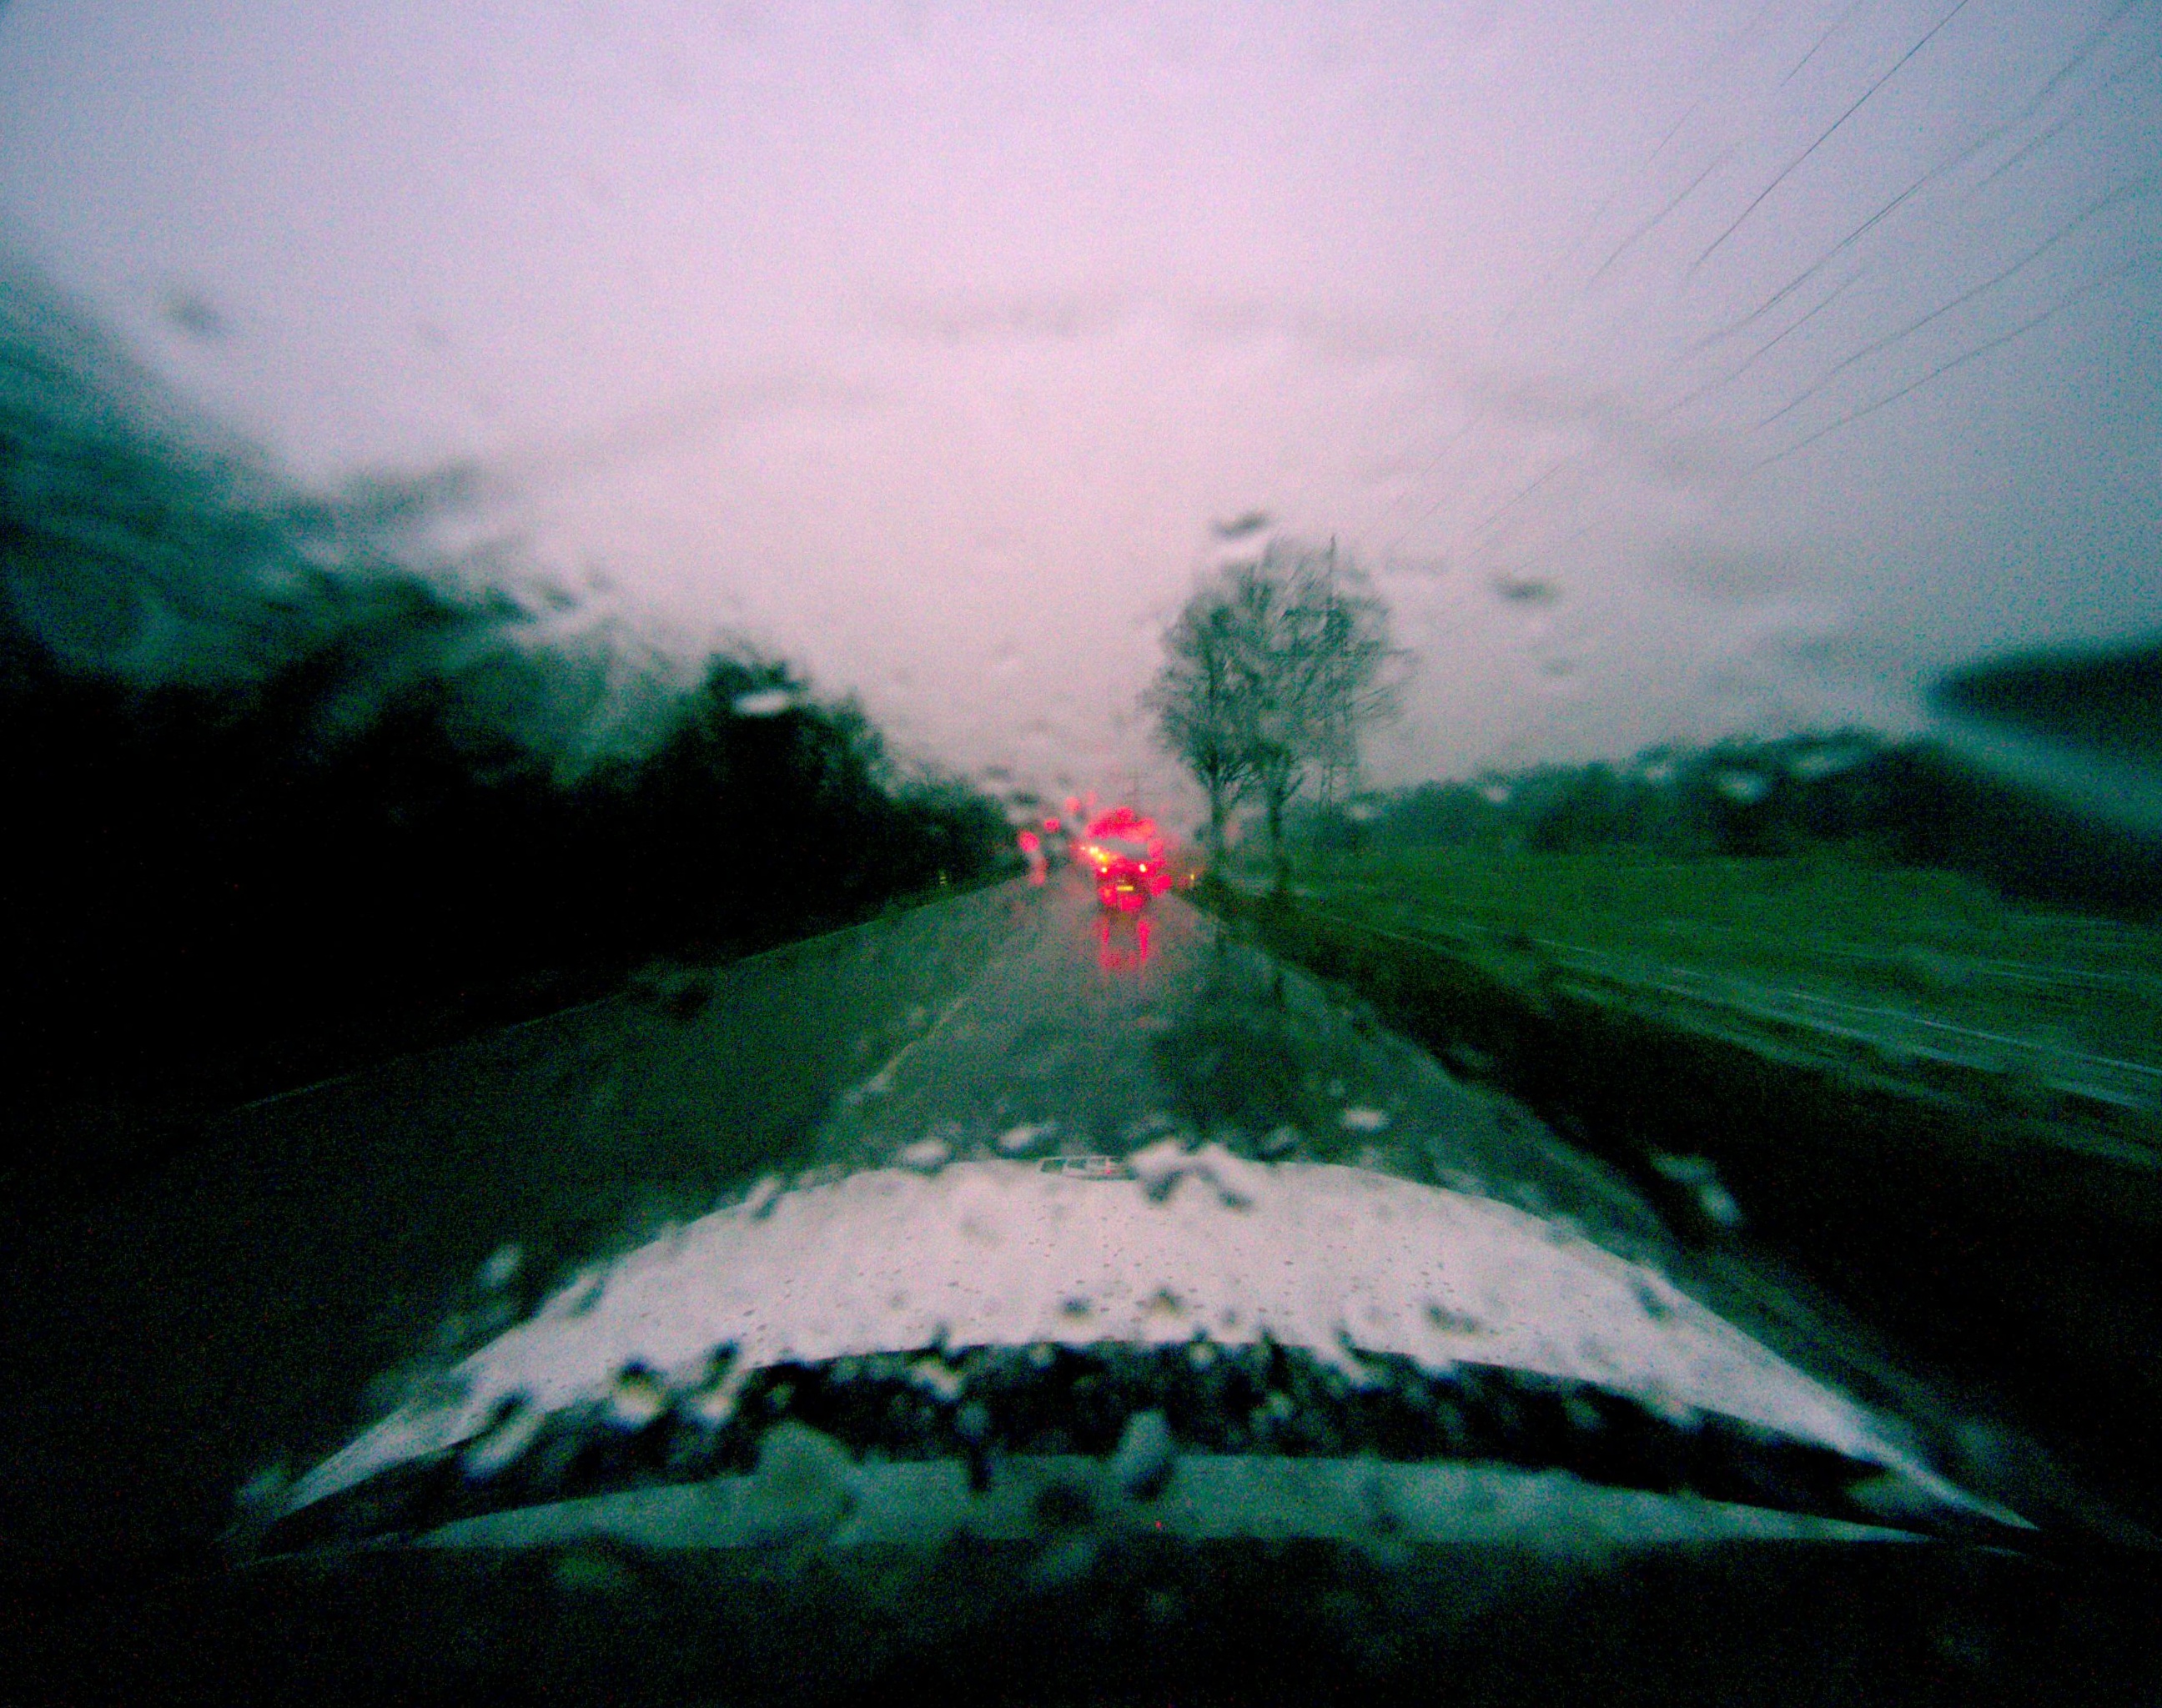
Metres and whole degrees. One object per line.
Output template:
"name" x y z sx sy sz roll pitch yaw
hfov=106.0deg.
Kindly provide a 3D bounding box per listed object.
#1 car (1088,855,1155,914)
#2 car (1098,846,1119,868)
"car" 1.300 0.925 26.845 1.986 1.752 4.002 -1 0 2
"car" 2.778 0.283 82.515 1.986 2.013 4.003 1 2 2
